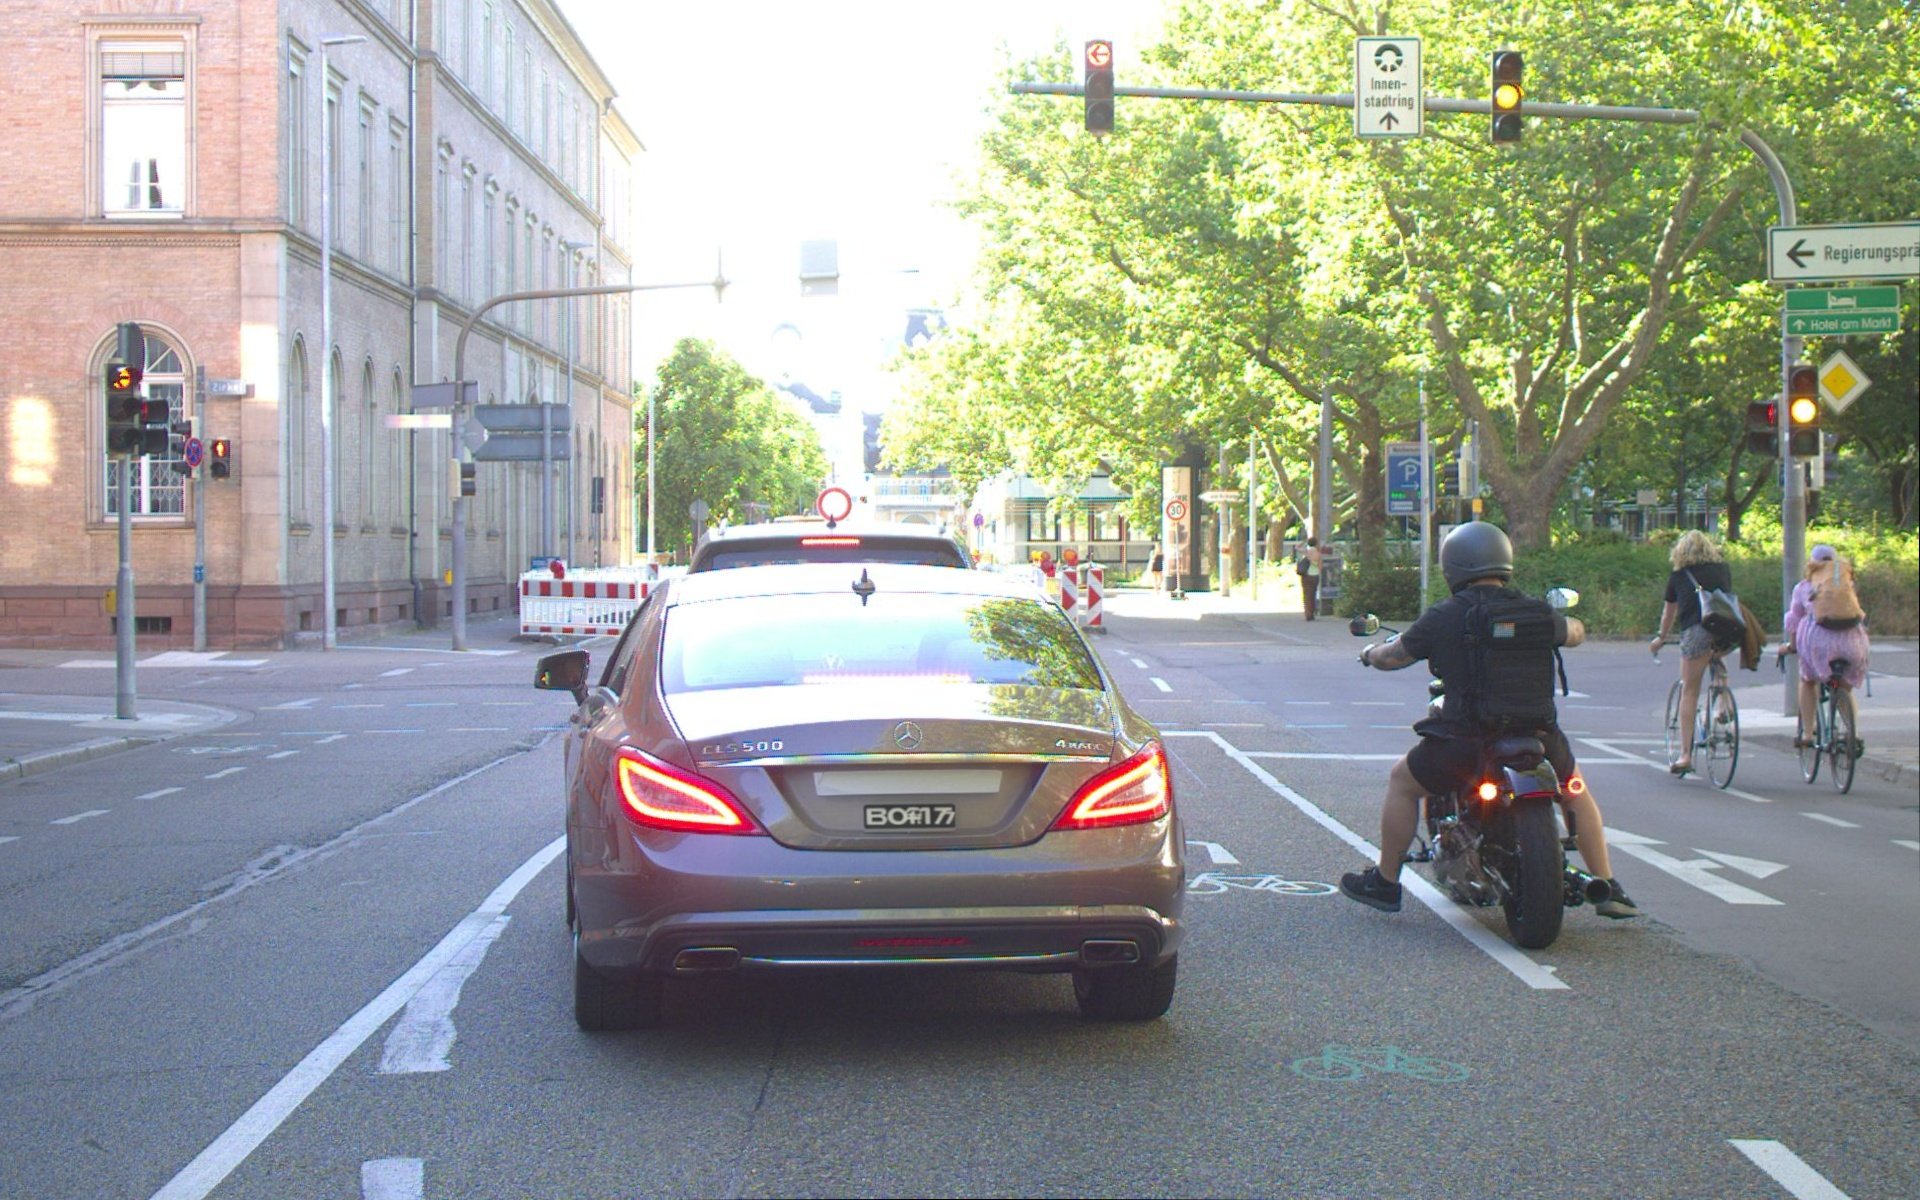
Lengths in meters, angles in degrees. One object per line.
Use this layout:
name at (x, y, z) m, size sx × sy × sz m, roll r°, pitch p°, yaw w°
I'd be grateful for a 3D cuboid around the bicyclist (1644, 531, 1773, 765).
bicyclist at (4.956, 0.304, 22.810) m, size 0.610 × 1.511 × 0.890 m, roll 2°, pitch 1°, yaw -1°

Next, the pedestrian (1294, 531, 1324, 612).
pedestrian at (7.178, -0.589, 70.729) m, size 0.559 × 1.672 × 0.565 m, roll 0°, pitch 1°, yaw -1°

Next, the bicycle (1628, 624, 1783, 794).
bicycle at (4.944, 0.705, 22.890) m, size 0.610 × 1.023 × 1.731 m, roll 2°, pitch 1°, yaw -1°

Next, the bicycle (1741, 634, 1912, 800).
bicycle at (5.687, 0.749, 22.654) m, size 0.600 × 0.981 × 1.881 m, roll 2°, pitch 1°, yaw -1°

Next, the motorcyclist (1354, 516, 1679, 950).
motorcyclist at (2.137, 0.483, 13.385) m, size 1.113 × 1.607 × 1.202 m, roll 0°, pitch 1°, yaw 3°

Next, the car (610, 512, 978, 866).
car at (-0.820, 0.379, 17.668) m, size 1.681 × 1.619 × 3.841 m, roll 0°, pitch 1°, yaw -2°

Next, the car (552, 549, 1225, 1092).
car at (-0.443, 0.567, 11.619) m, size 1.821 × 1.471 × 4.354 m, roll 0°, pitch 1°, yaw -7°

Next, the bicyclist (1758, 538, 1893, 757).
bicyclist at (5.710, 0.299, 22.715) m, size 0.600 × 1.397 × 0.931 m, roll 2°, pitch 1°, yaw -1°

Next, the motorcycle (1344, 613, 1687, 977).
motorcycle at (2.077, 0.680, 13.277) m, size 1.007 × 1.200 × 2.665 m, roll 0°, pitch 1°, yaw 3°
